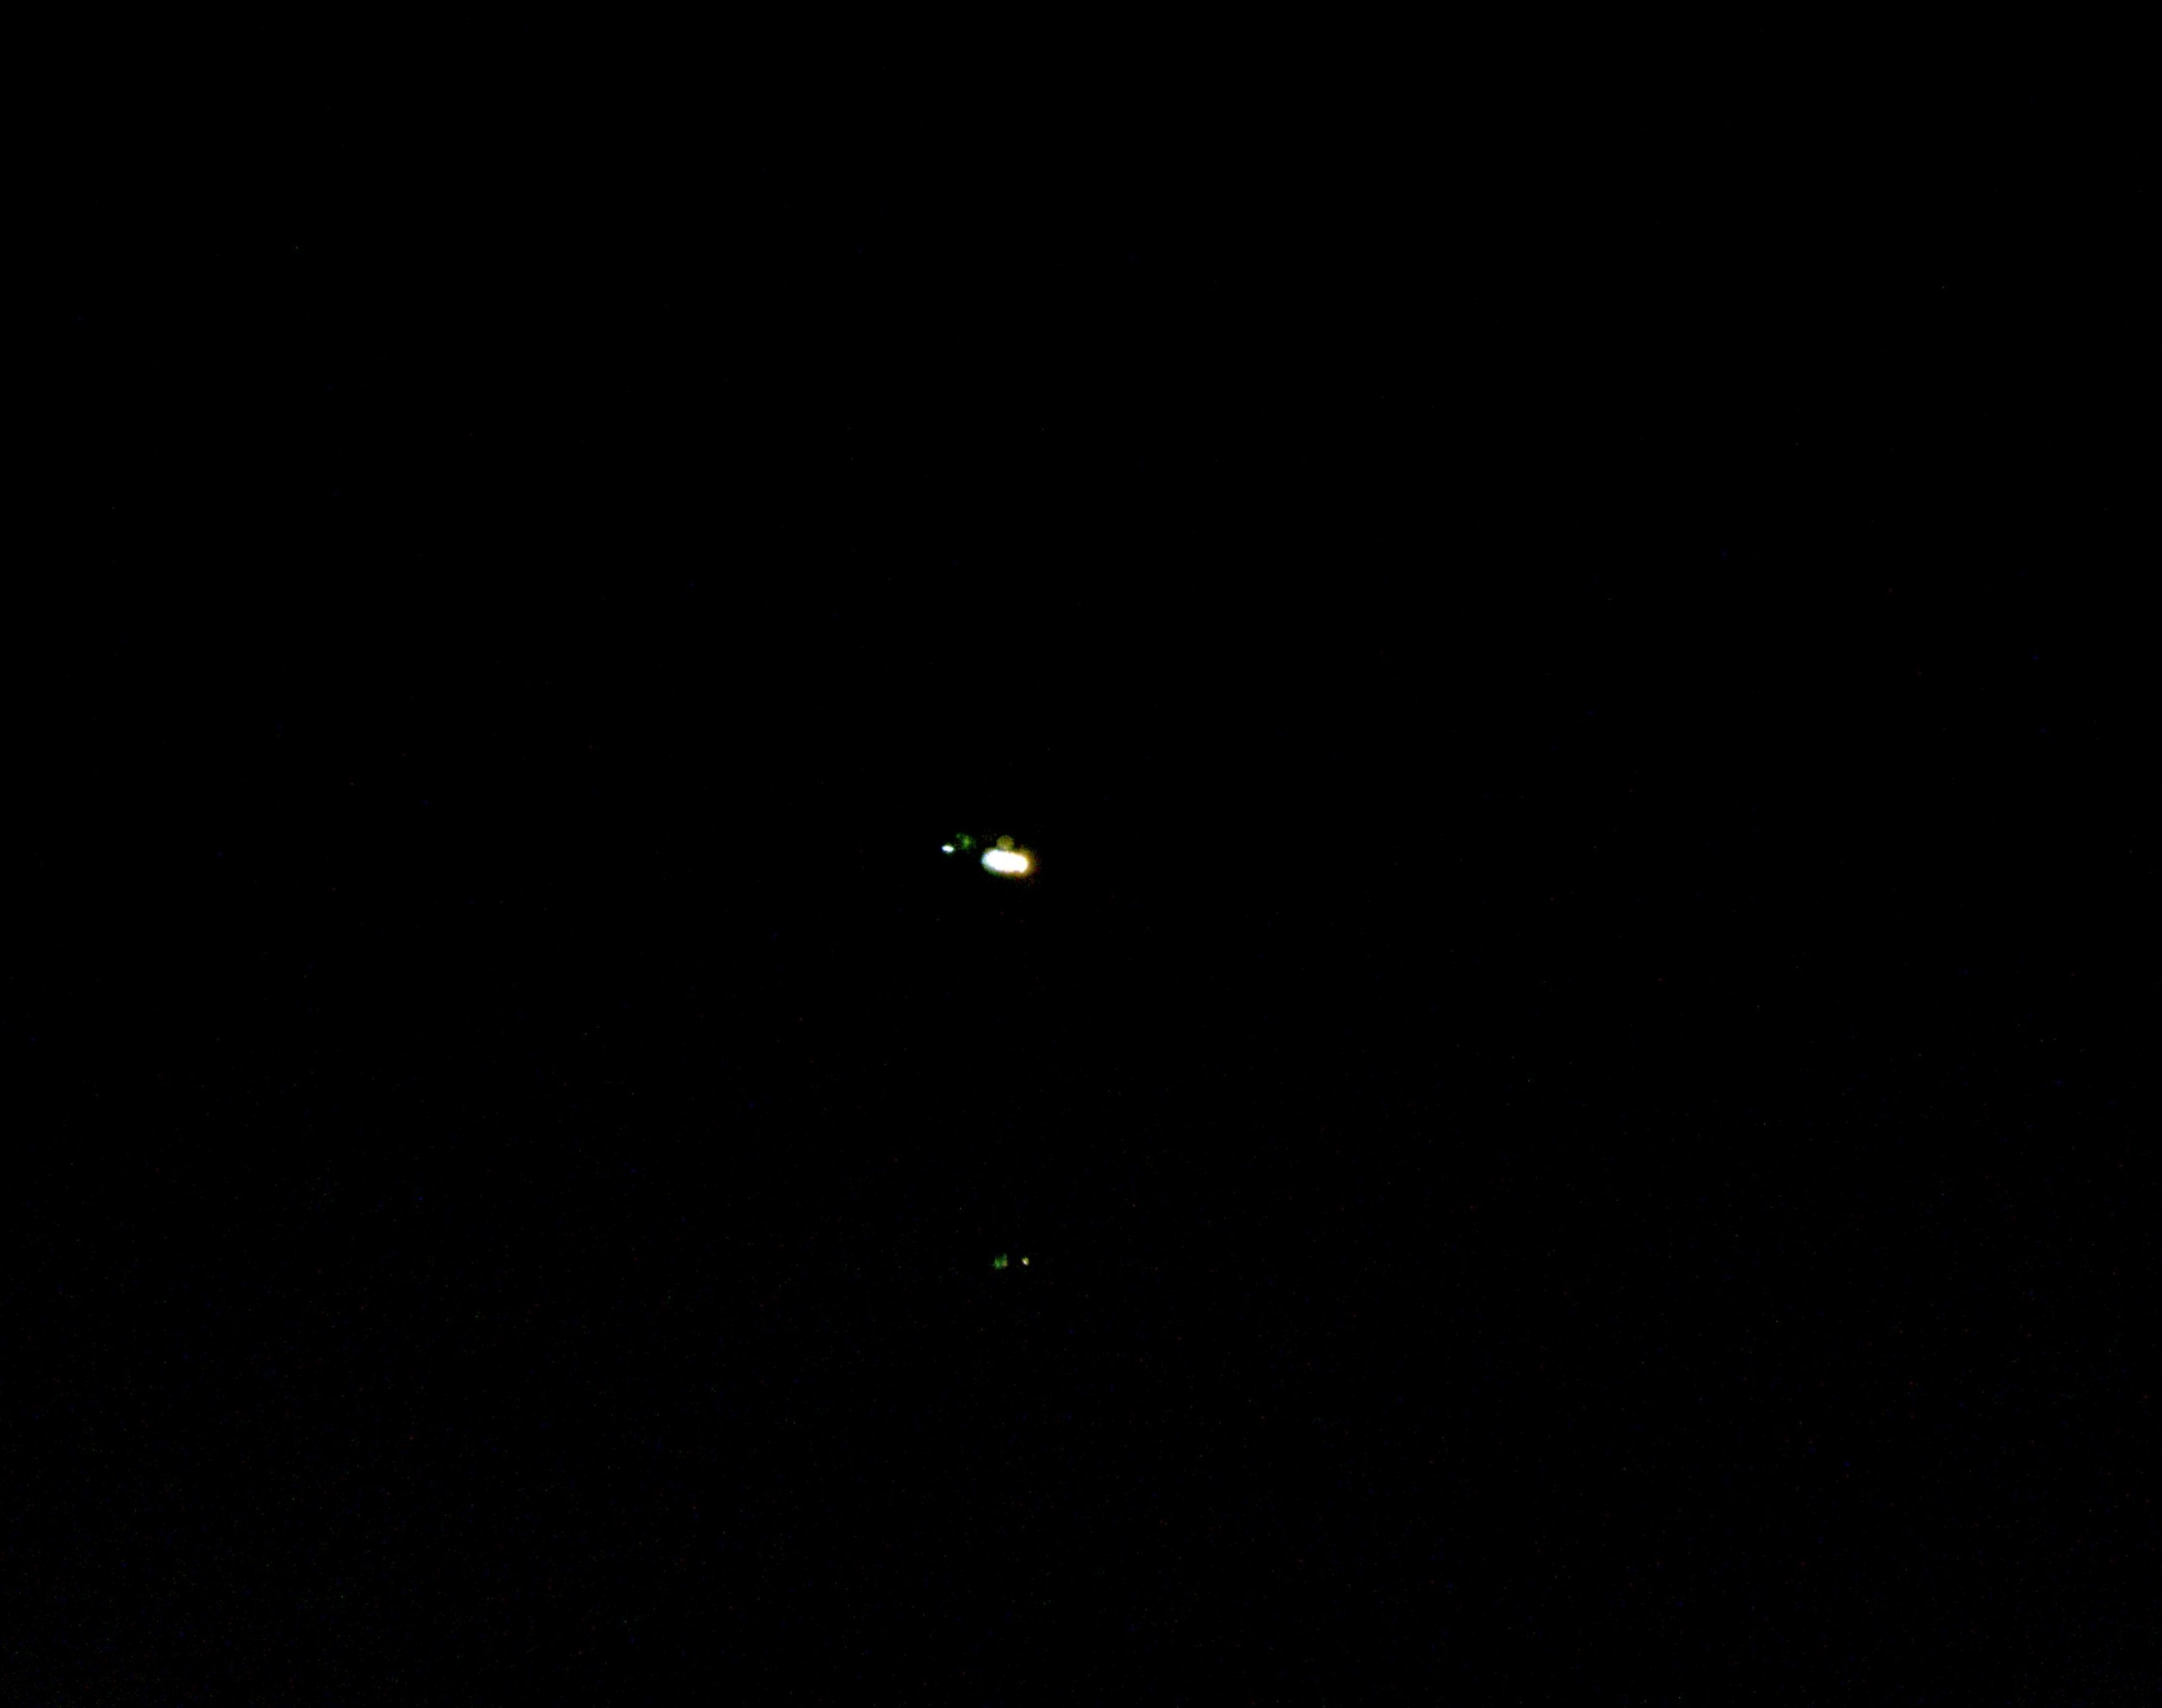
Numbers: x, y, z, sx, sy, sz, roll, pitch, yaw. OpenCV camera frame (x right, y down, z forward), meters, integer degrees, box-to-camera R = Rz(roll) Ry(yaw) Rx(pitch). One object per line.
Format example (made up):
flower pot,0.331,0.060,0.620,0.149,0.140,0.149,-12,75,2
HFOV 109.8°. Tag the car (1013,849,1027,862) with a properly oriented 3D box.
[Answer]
car,-10.570,0.251,131.437,2.000,2.002,3.996,0,2,-9
